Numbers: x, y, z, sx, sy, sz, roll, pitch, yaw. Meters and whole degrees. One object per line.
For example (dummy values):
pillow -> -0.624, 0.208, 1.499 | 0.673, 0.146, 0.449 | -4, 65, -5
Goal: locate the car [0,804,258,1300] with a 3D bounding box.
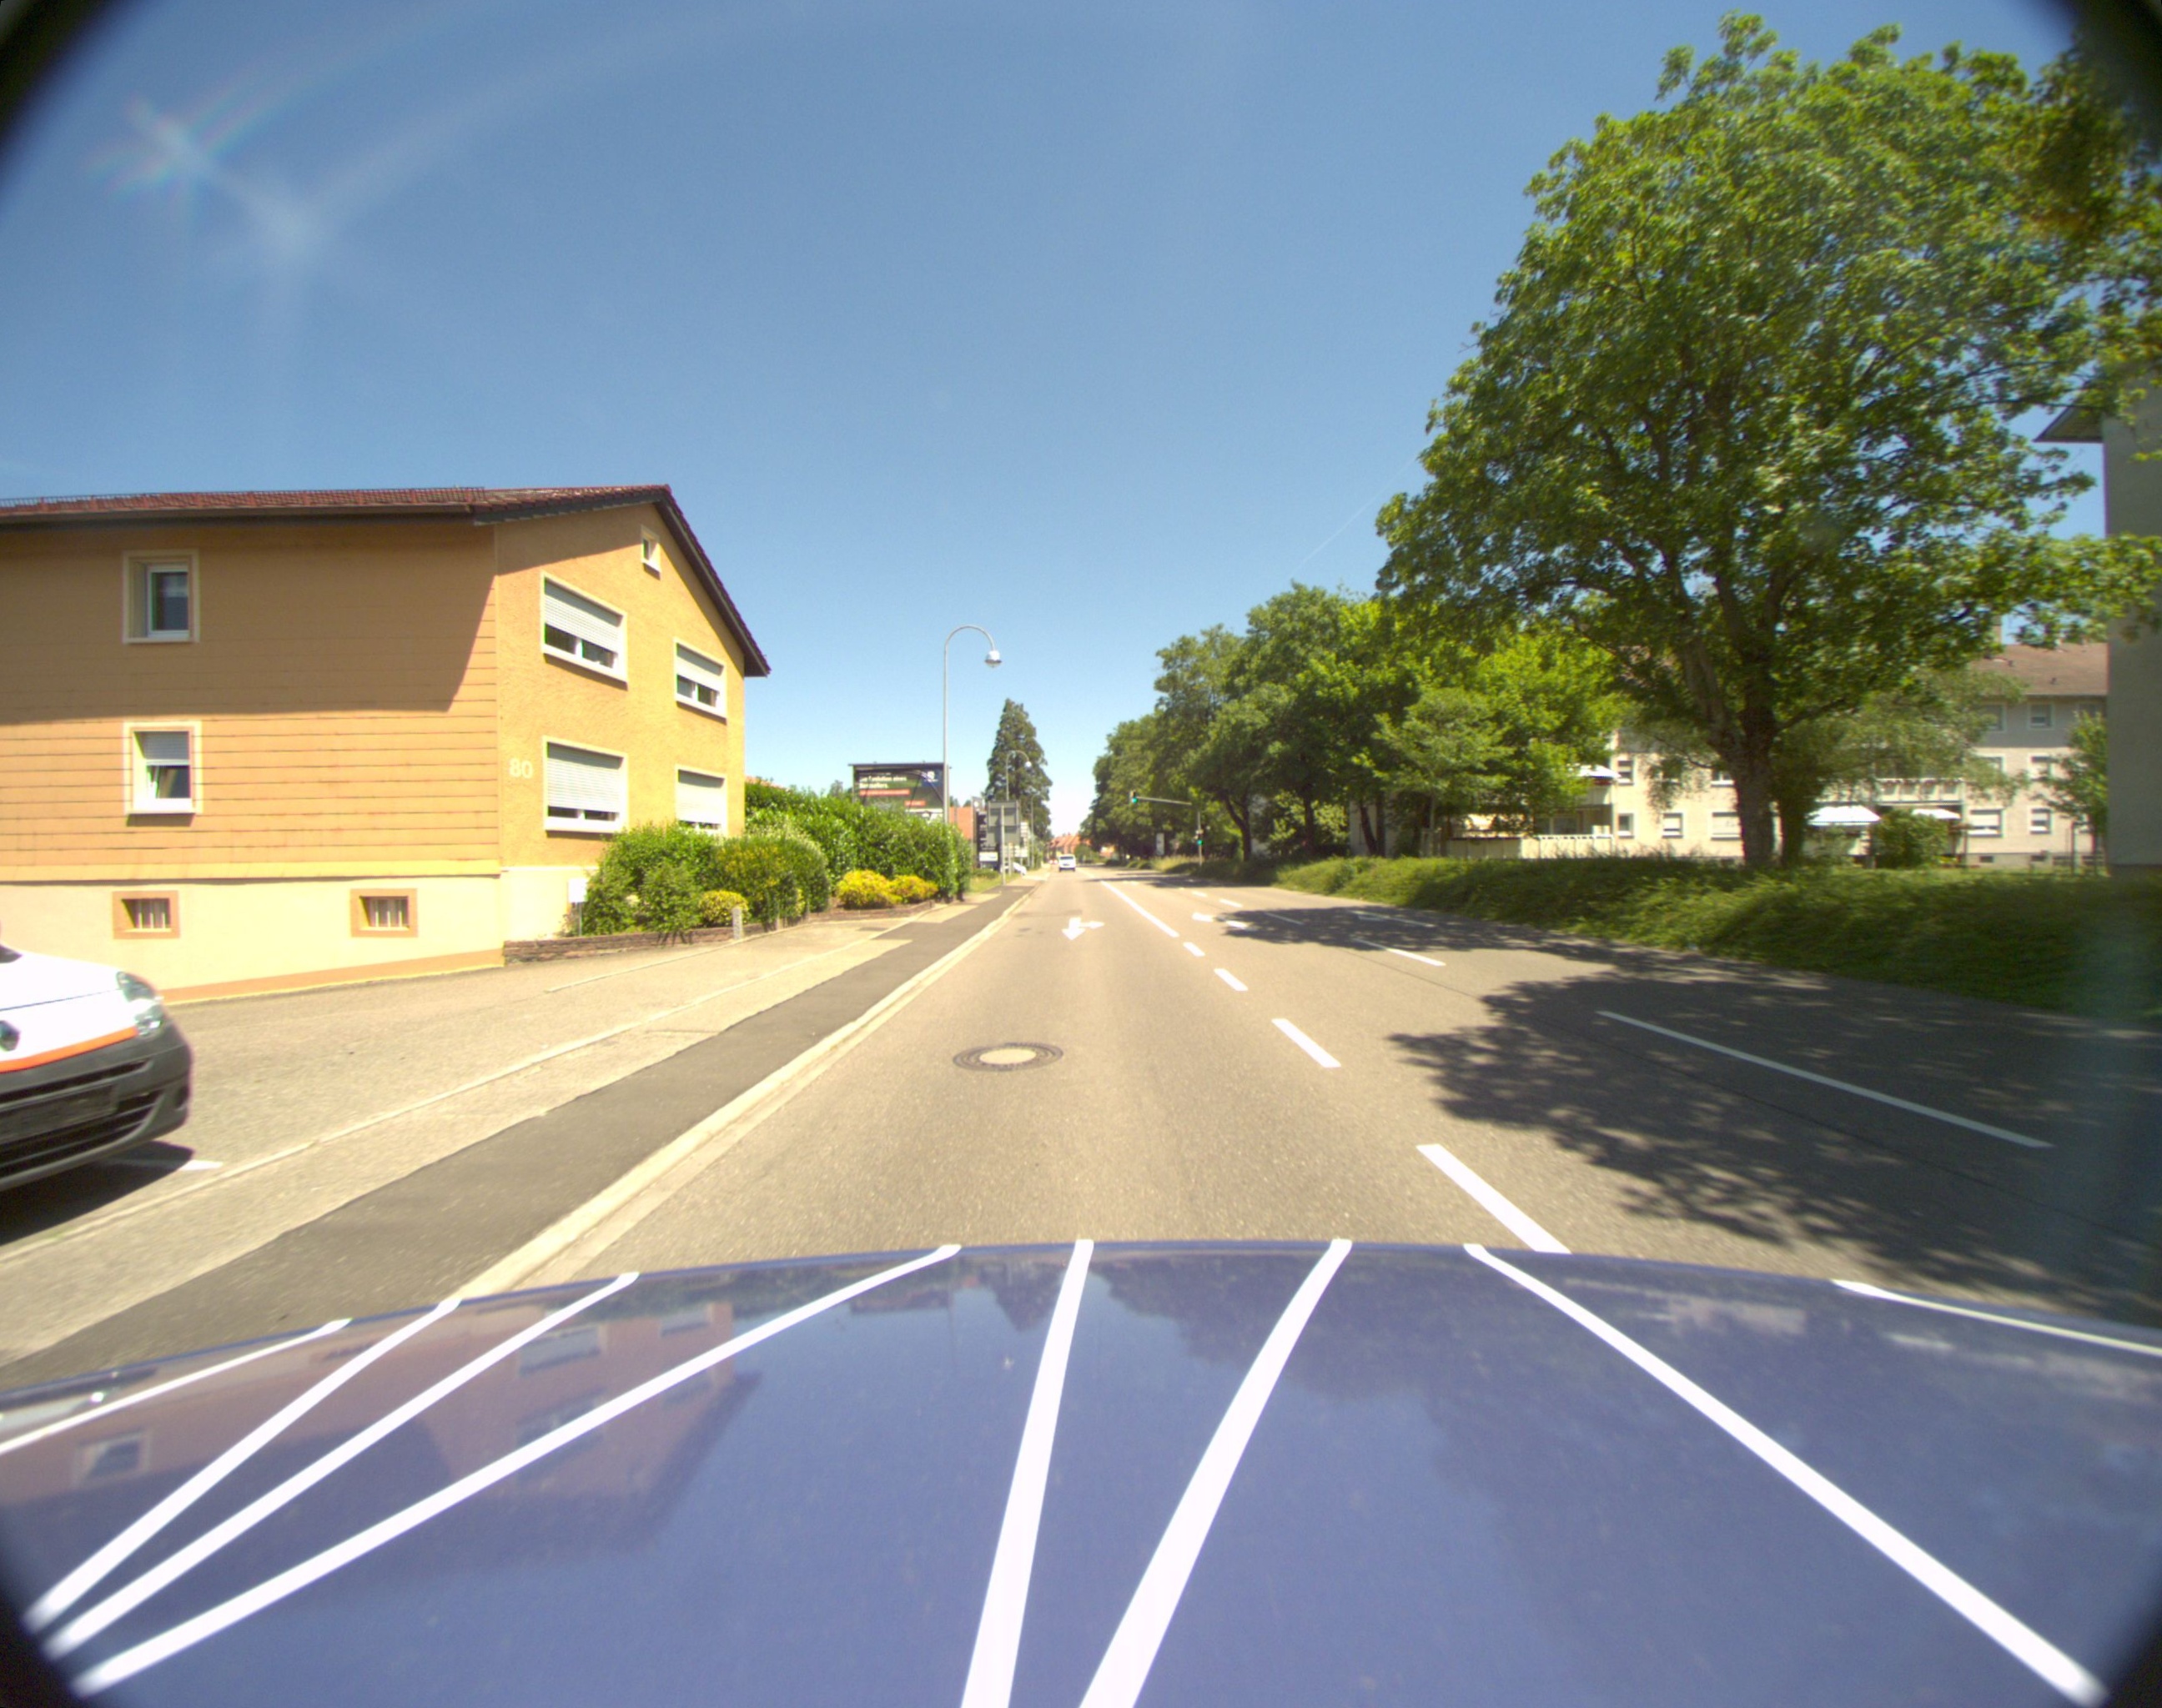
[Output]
car -> -6.290, 0.821, 2.858 | 4.146, 1.927, 1.807 | -2, 0, -5

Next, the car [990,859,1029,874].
car -> -6.936, 1.221, 73.926 | 3.637, 1.375, 1.627 | -2, 1, 1

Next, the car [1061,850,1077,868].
car -> -1.413, 0.538, 87.456 | 1.796, 1.904, 3.639 | -2, 1, -1

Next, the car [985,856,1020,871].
car -> -8.522, 1.057, 82.643 | 3.637, 1.541, 1.627 | -2, 0, 1

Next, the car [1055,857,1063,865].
car -> -5.962, 1.805, 205.641 | 1.862, 2.002, 4.000 | -1, 0, 1
